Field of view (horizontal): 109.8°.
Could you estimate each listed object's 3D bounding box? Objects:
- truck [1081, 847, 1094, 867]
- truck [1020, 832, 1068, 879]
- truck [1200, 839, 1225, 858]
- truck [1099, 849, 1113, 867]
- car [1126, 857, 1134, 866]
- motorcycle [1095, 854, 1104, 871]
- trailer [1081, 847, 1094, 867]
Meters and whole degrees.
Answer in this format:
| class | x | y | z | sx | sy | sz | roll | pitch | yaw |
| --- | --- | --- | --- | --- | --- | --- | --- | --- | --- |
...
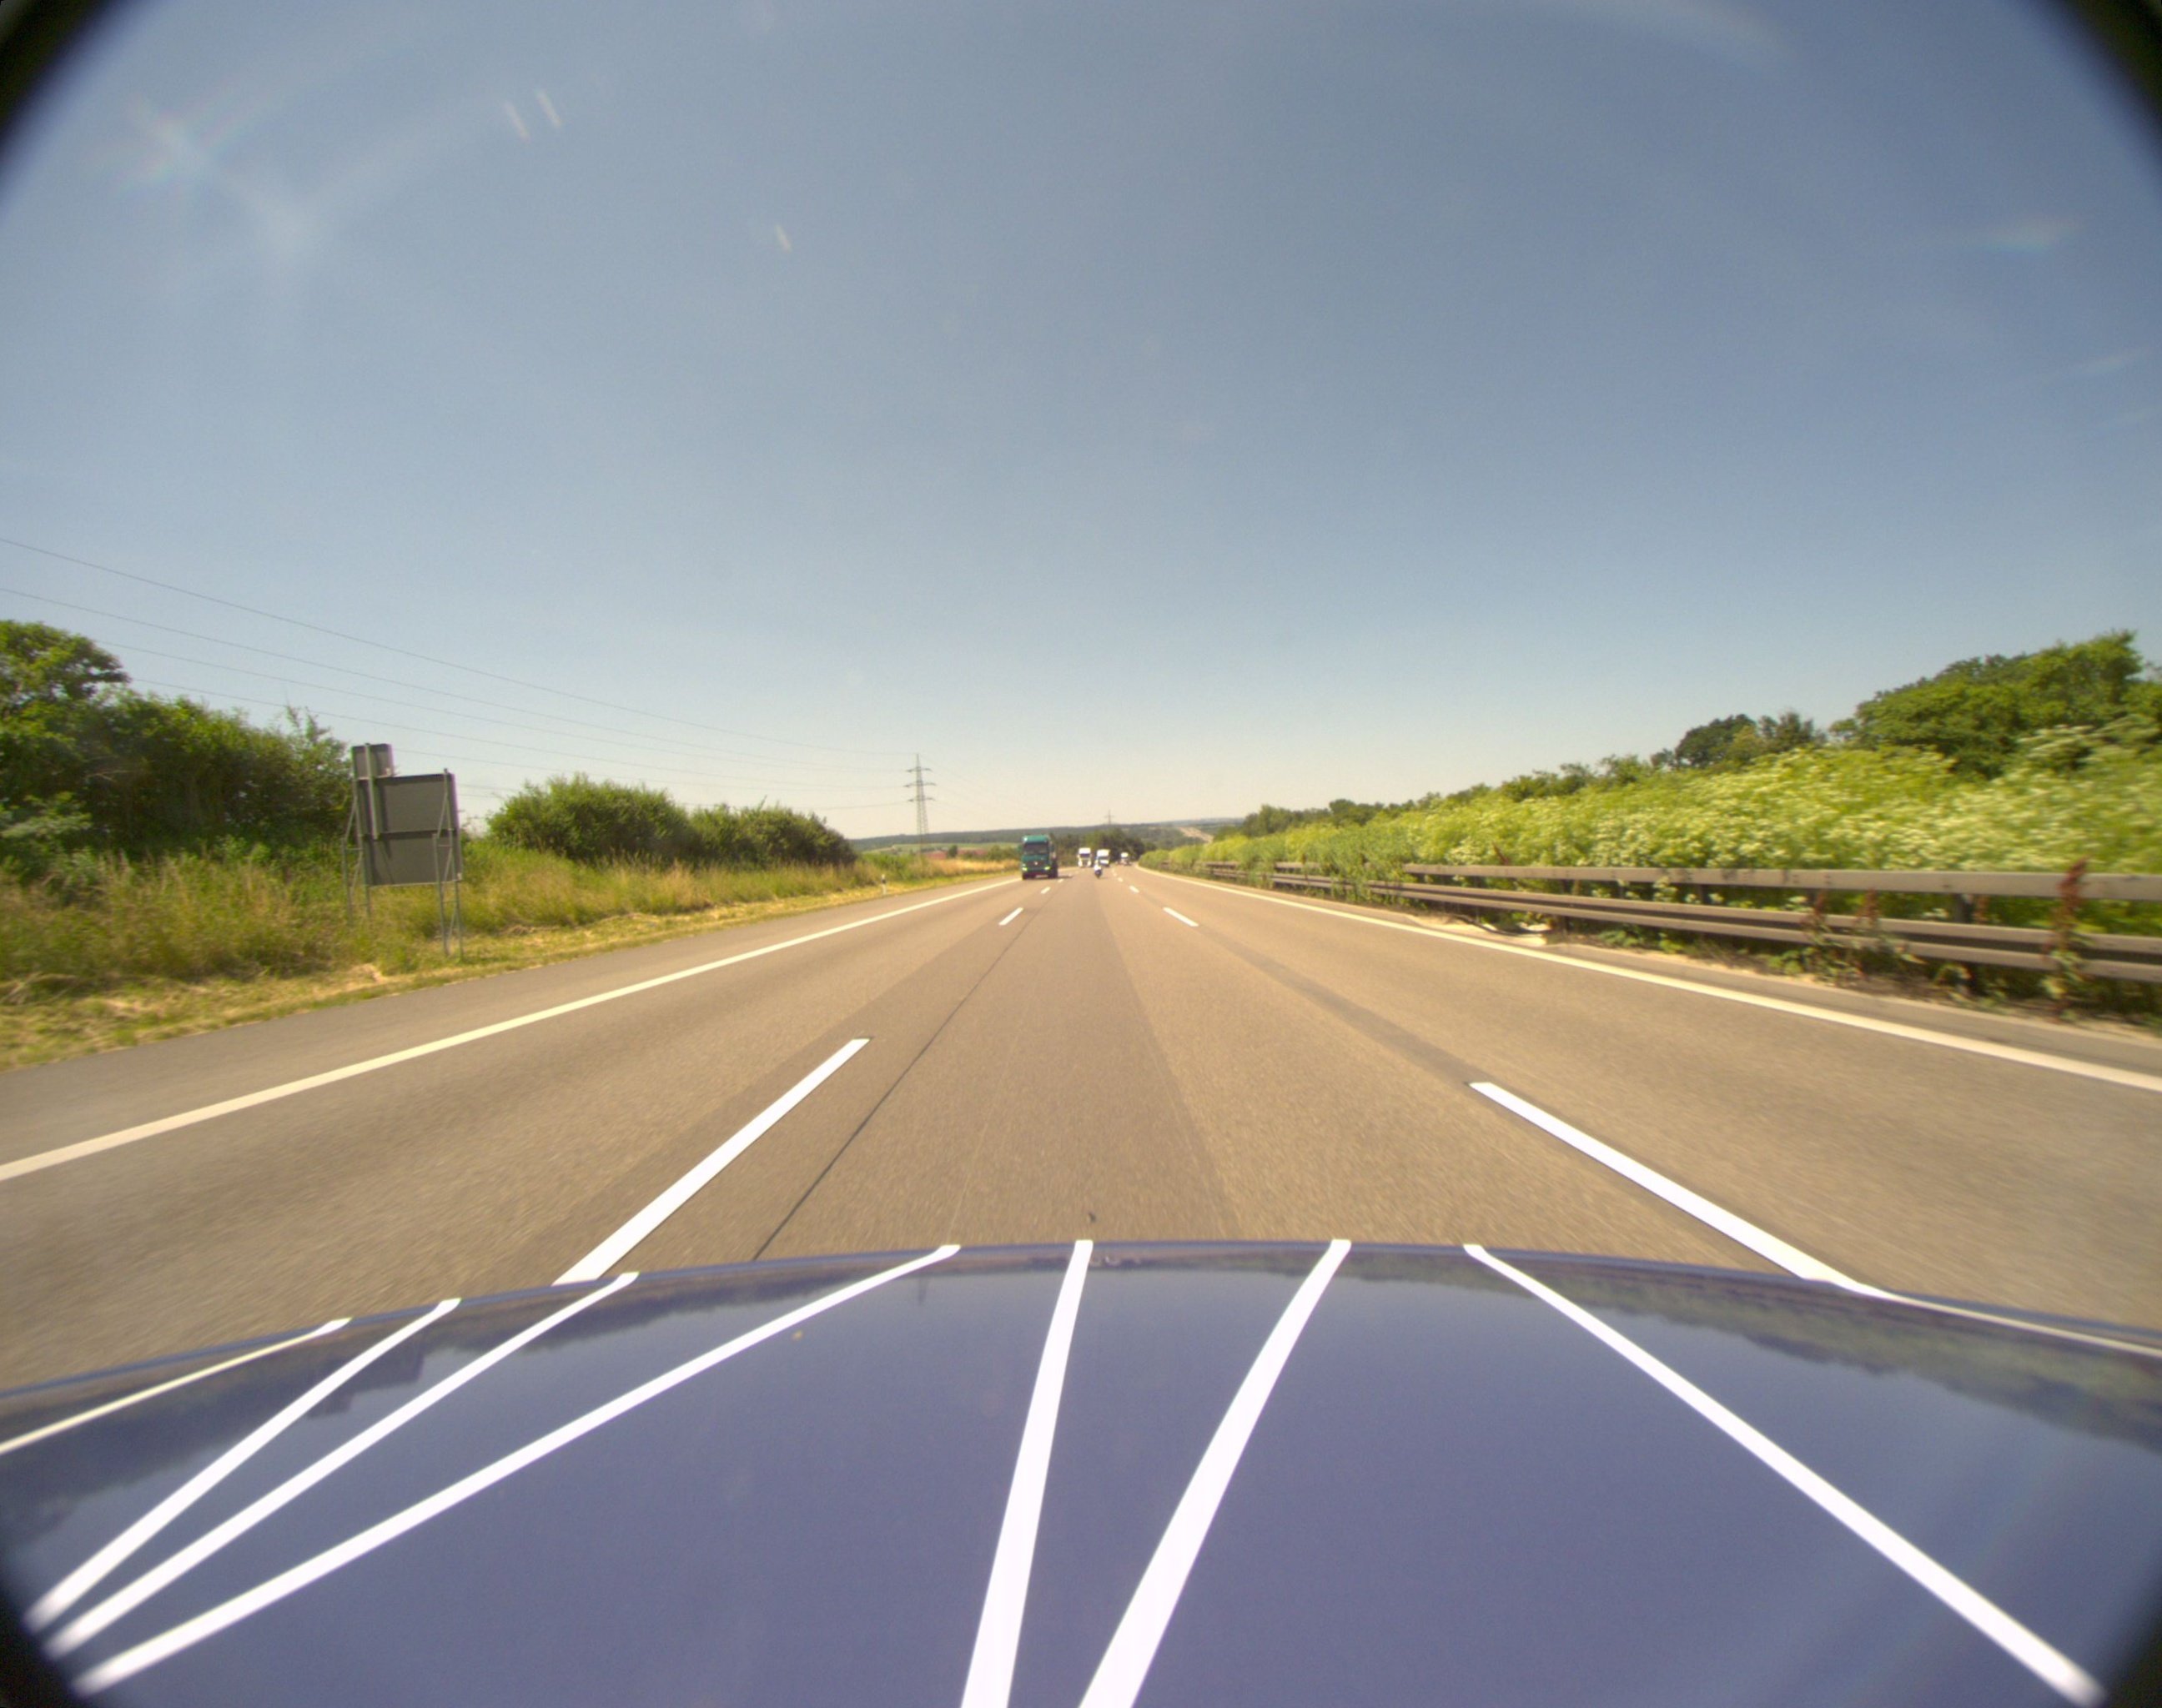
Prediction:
| class | x | y | z | sx | sy | sz | roll | pitch | yaw |
| --- | --- | --- | --- | --- | --- | --- | --- | --- | --- |
| truck | 1.356 | 0.694 | 164.304 | 2.567 | 4.129 | 6.249 | -2 | 0 | 1 |
| truck | -3.088 | 0.123 | 67.548 | 2.872 | 3.702 | 12.766 | -2 | 0 | 3 |
| truck | 25.990 | -1.028 | 151.047 | 2.680 | 3.497 | 17.041 | -2 | 0 | 2 |
| truck | 4.793 | 0.754 | 145.483 | 2.512 | 3.268 | 8.108 | -1 | 0 | 2 |
| car | 11.389 | 1.771 | 176.917 | 1.704 | 1.958 | 4.001 | -2 | 0 | 2 |
| motorcycle | 1.405 | 0.675 | 58.900 | 0.631 | 1.279 | 2.313 | -2 | 0 | 2 |
| trailer | 1.462 | 0.654 | 171.987 | 2.607 | 4.238 | 13.034 | -2 | 0 | 1 |
